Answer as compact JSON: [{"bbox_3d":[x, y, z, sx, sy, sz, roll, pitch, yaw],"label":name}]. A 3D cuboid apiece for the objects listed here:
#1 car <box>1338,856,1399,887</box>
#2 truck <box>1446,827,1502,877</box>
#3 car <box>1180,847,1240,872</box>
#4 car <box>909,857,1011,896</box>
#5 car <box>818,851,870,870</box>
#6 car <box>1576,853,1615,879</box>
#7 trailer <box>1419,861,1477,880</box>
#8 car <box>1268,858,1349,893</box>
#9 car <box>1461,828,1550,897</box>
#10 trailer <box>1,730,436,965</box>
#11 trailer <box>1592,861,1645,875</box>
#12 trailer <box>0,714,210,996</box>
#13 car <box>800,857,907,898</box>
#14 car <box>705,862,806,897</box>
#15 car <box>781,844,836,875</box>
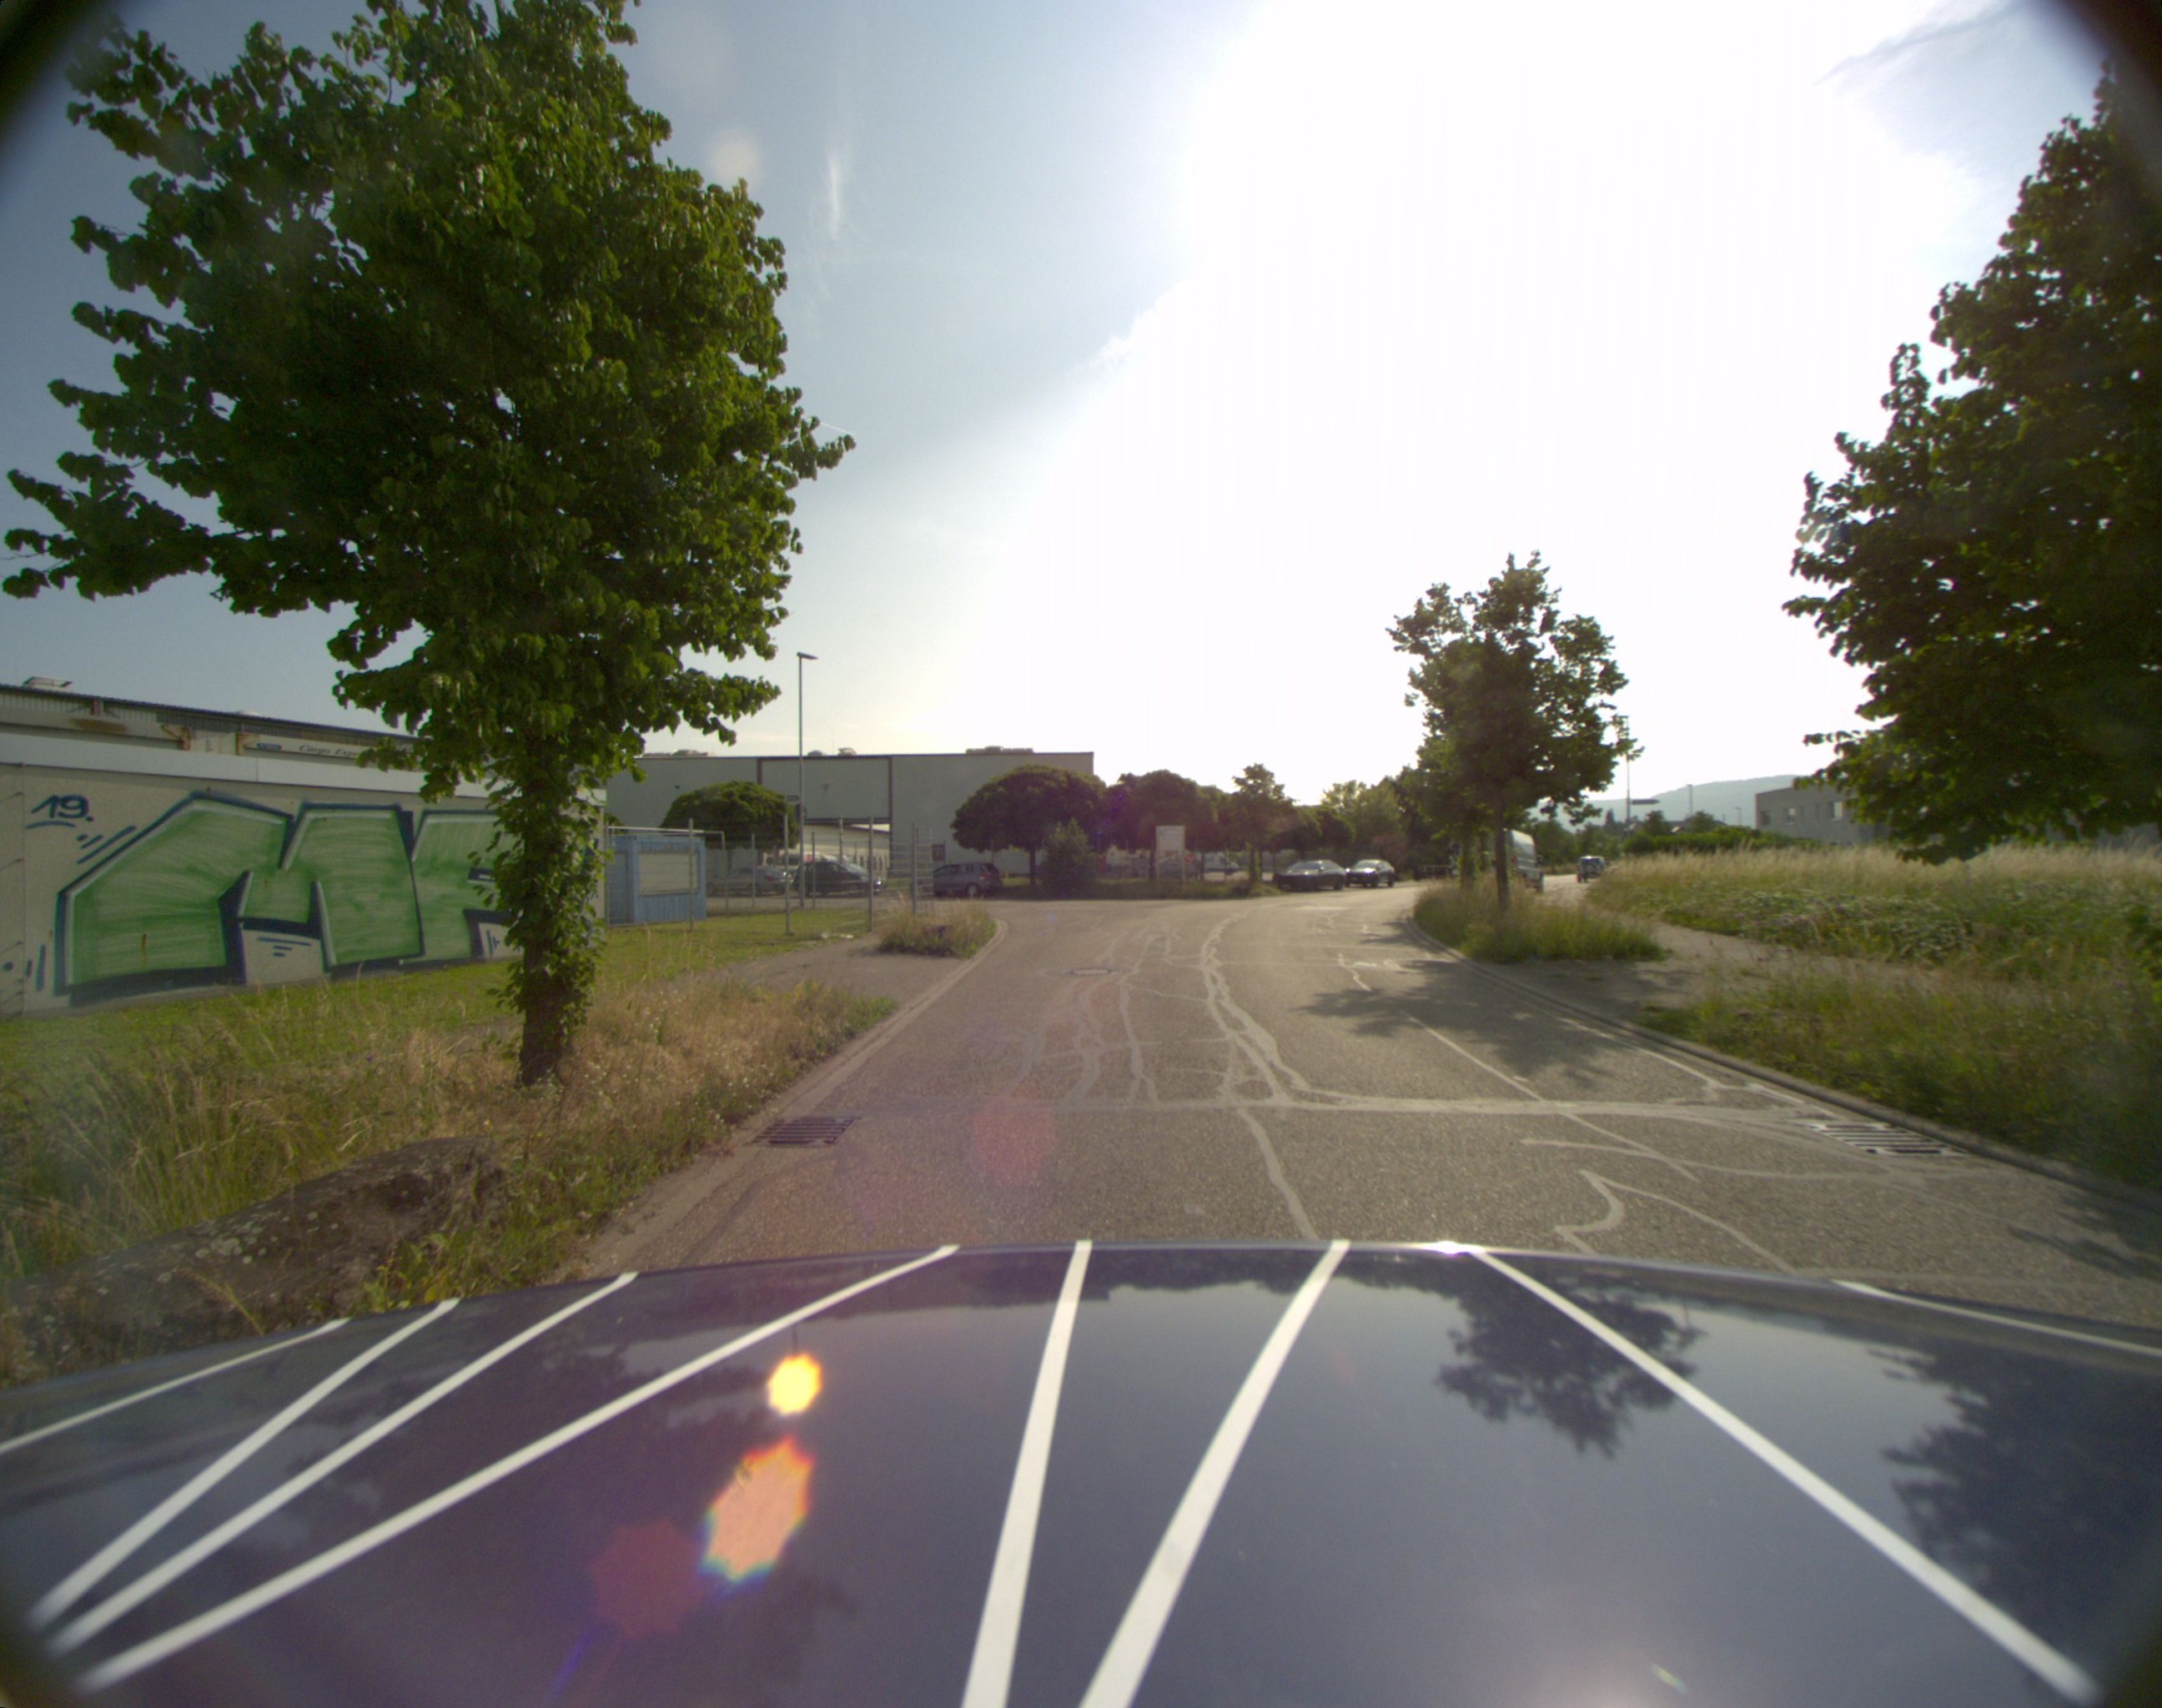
[{"bbox_3d":[16.568,0.968,43.739,1.881,1.565,4.122,3,3,42],"label":"car"},{"bbox_3d":[32.360,-0.181,62.442,2.692,3.942,6.061,3,2,40],"label":"truck"},{"bbox_3d":[14.067,0.595,83.202,6.268,2.633,2.213,0,0,1],"label":"car"},{"bbox_3d":[-5.189,0.981,32.662,3.952,1.515,1.730,-1,2,21],"label":"car"},{"bbox_3d":[-25.312,0.676,81.205,4.843,2.072,1.932,0,0,4],"label":"car"},{"bbox_3d":[33.865,0.767,49.945,1.598,1.641,3.652,-2,-2,42],"label":"car"},{"bbox_3d":[27.275,1.207,56.314,1.939,1.228,7.467,2,1,41],"label":"trailer"},{"bbox_3d":[11.528,1.016,38.243,1.881,1.565,5.129,1,2,42],"label":"car"},{"bbox_3d":[17.736,0.336,31.566,2.103,2.579,6.518,-1,-1,39],"label":"car"},{"bbox_3d":[-17.425,-0.067,15.312,8.544,3.872,2.779,-1,2,21],"label":"trailer"},{"bbox_3d":[46.077,1.147,64.989,2.547,1.067,9.753,-3,-2,42],"label":"trailer"},{"bbox_3d":[-18.634,0.029,12.476,8.544,3.871,2.780,0,0,20],"label":"trailer"},{"bbox_3d":[-10.178,1.044,34.038,4.259,1.615,1.881,-3,-2,21],"label":"car"},{"bbox_3d":[-15.599,1.214,36.425,4.481,1.509,1.730,-1,2,23],"label":"car"},{"bbox_3d":[-23.476,0.444,65.746,2.173,2.503,6.701,-1,0,2],"label":"car"}]
